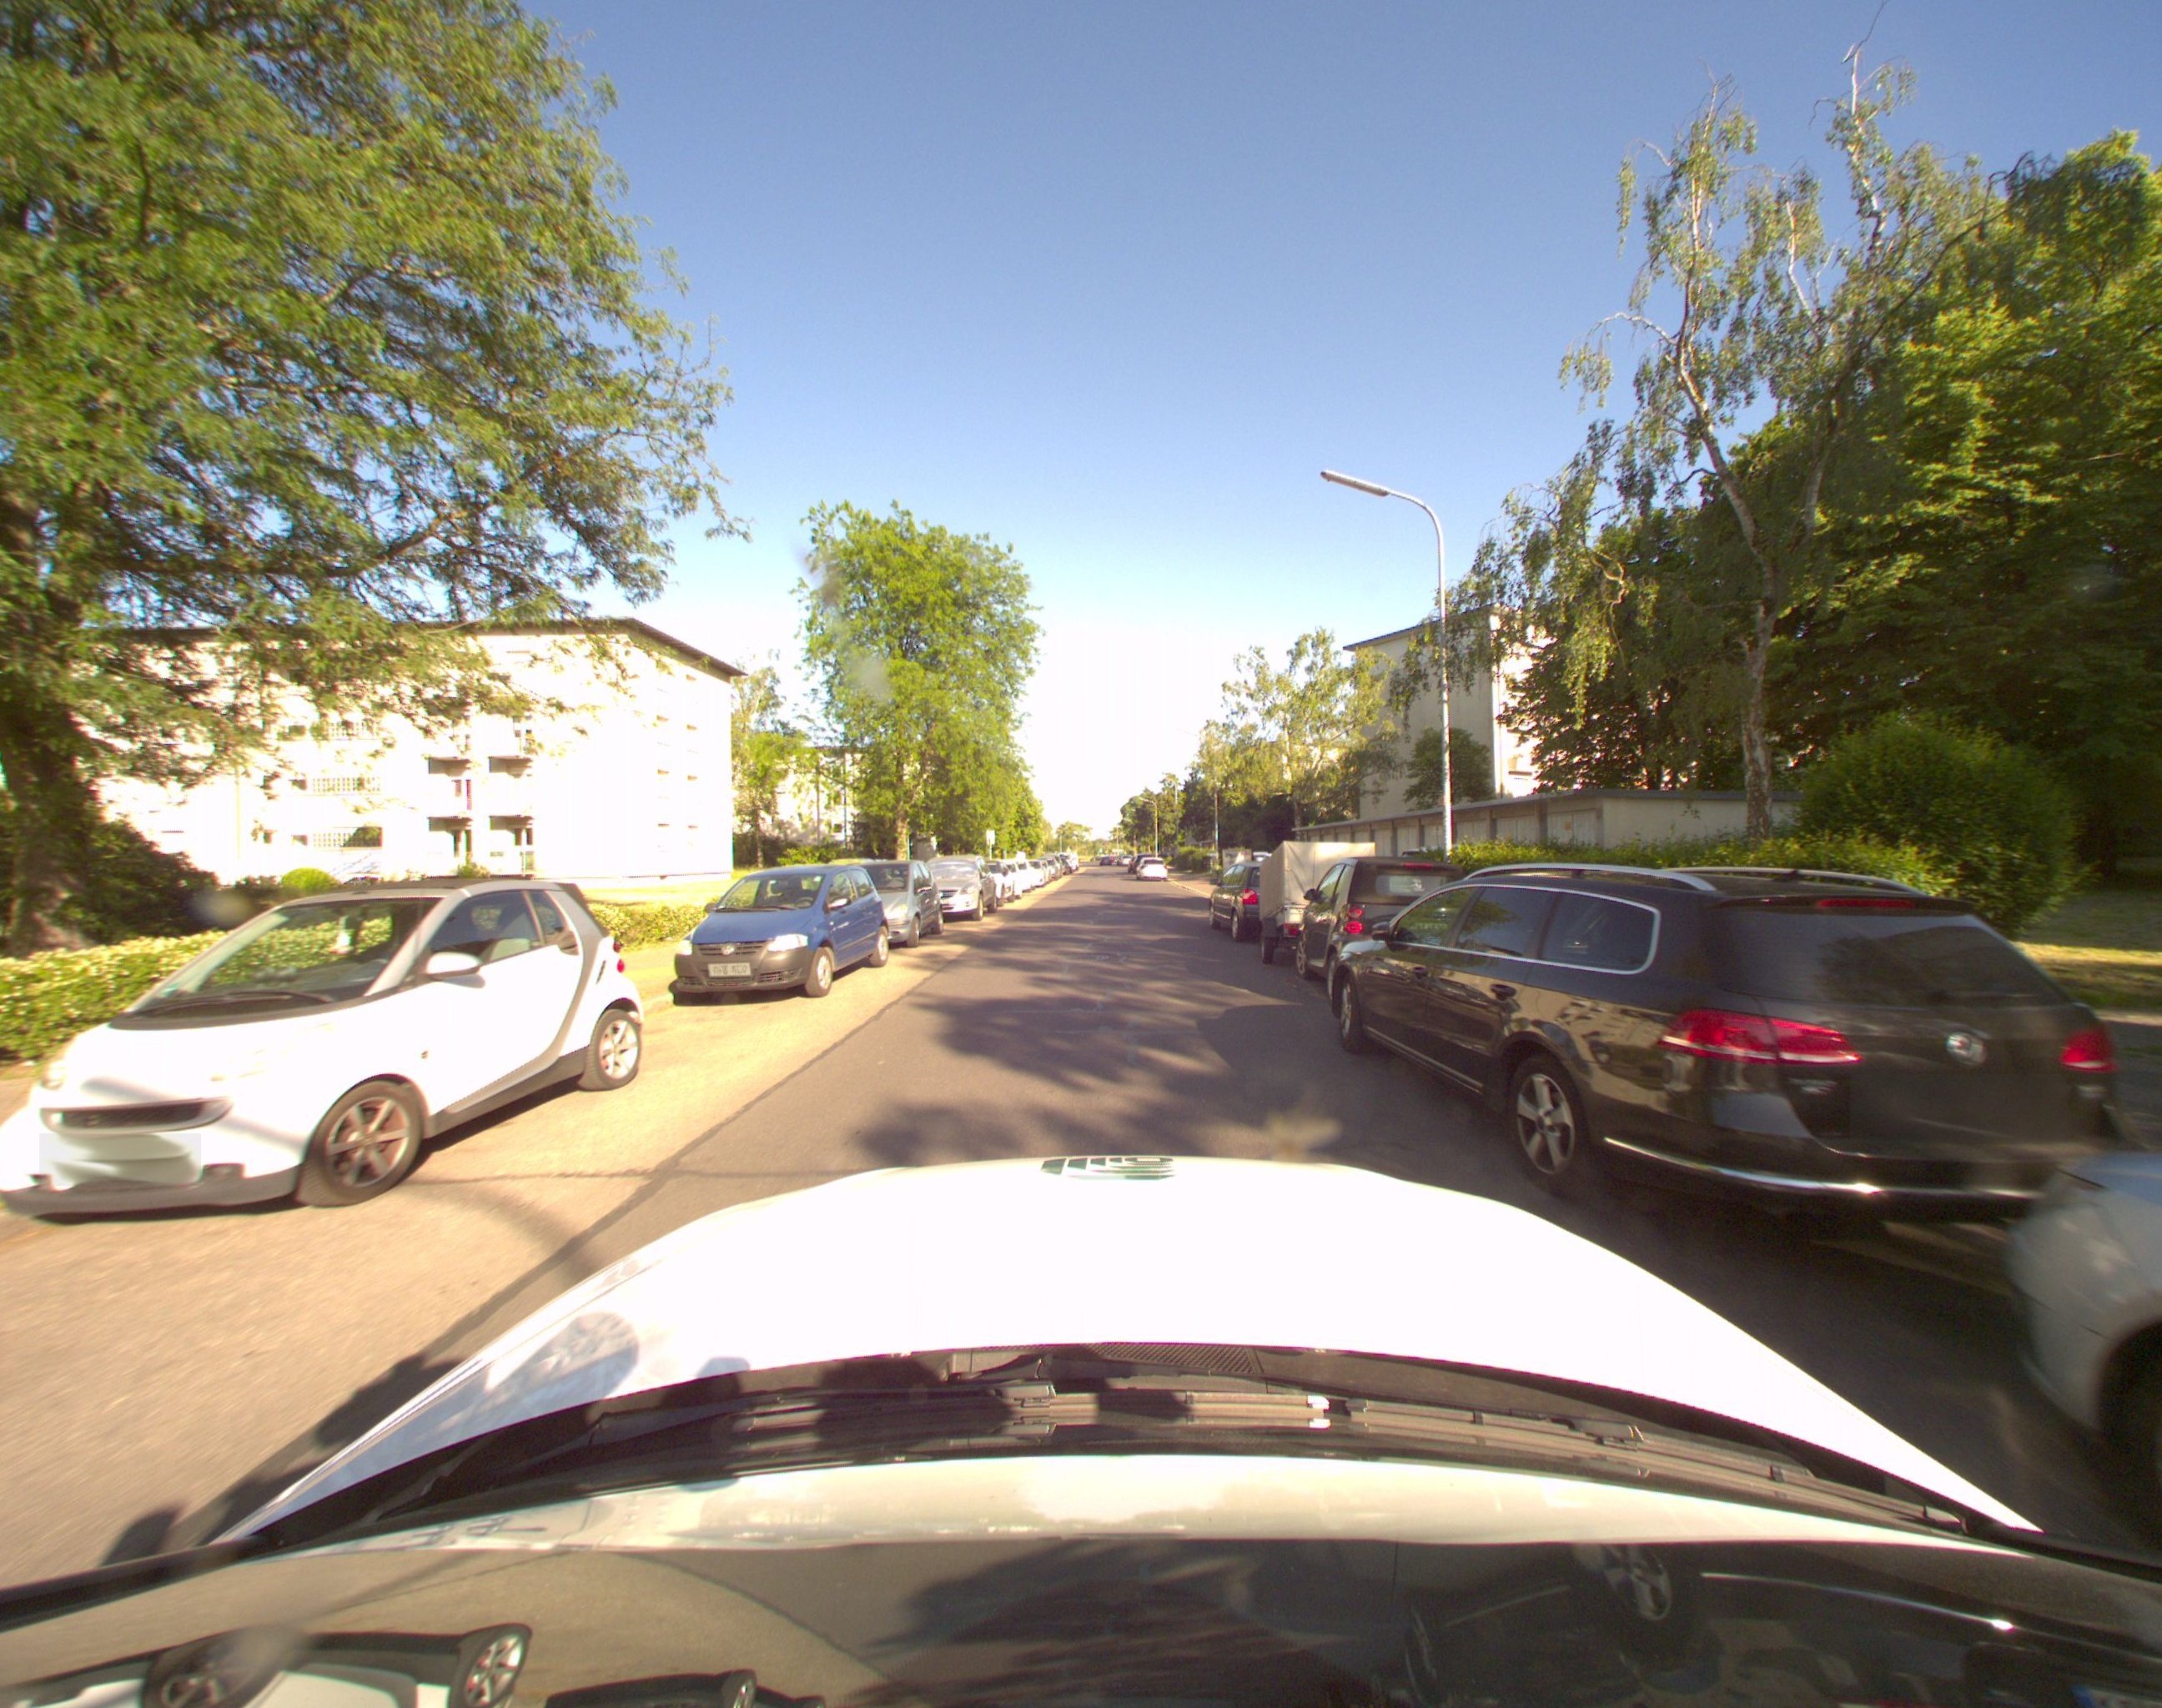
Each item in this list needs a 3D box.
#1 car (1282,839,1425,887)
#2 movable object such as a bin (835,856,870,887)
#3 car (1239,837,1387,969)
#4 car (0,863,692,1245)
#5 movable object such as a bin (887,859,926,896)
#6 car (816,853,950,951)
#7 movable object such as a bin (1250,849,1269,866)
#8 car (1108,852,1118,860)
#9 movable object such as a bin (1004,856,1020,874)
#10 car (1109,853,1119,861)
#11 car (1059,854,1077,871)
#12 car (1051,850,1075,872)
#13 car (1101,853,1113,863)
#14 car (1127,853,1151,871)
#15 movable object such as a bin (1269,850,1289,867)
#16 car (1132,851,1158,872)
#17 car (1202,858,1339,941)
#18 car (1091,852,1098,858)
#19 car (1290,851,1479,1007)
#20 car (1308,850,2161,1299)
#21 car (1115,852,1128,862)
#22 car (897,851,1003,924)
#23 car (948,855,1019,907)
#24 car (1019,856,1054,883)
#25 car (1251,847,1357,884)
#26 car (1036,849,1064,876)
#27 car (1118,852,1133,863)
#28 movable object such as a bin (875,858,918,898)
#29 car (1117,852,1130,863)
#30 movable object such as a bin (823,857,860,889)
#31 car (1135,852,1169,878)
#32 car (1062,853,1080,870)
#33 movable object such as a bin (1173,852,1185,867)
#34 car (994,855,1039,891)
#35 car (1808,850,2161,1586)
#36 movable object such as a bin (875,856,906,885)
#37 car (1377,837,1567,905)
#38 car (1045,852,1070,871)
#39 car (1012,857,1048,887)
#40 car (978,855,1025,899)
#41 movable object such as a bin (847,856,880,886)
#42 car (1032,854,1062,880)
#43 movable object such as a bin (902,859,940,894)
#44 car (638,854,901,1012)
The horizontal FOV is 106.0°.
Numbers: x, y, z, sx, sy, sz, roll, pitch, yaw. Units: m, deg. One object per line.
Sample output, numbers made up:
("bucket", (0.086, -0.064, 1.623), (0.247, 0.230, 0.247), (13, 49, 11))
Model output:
("car", (9.719, 0.306, 29.299), (4.495, 1.513, 1.830), (-2, 0, 2))
("movable object such as a bin", (-11.005, 0.844, 39.353), (1.172, 1.420, 1.464), (1, 0, 3))
("car", (3.284, 0.640, 11.943), (1.483, 1.718, 2.583), (0, 0, 1))
("car", (-4.078, 0.908, 5.144), (1.438, 1.574, 3.146), (-3, 0, 5))
("movable object such as a bin", (-6.695, 0.888, 31.330), (1.131, 1.358, 1.244), (1, 0, 3))
("car", (-3.674, 0.823, 15.712), (1.630, 1.606, 3.535), (-2, 0, 0))
("movable object such as a bin", (14.697, 0.283, 67.154), (1.250, 1.353, 1.279), (-1, 0, 1))
("car", (6.901, 0.412, 175.599), (1.790, 1.643, 3.950), (0, 0, -1))
("movable object such as a bin", (-5.616, 0.909, 66.223), (1.097, 1.420, 1.361), (1, 0, 2))
("car", (6.786, 0.646, 168.191), (1.790, 1.548, 3.950), (0, 0, -1))
("car", (-1.337, 0.844, 84.253), (1.741, 1.669, 4.375), (-2, 0, -1))
("car", (-1.656, 0.620, 76.147), (1.907, 1.962, 5.089), (-2, 0, 2))
("car", (3.889, 0.558, 123.721), (1.675, 1.513, 4.102), (1, 0, -1))
("car", (5.139, 0.700, 72.649), (1.901, 1.531, 4.329), (0, 0, 1))
("movable object such as a bin", (16.404, 0.358, 67.410), (1.253, 1.353, 1.276), (-1, 0, -7))
("car", (5.192, 0.600, 66.797), (1.901, 1.639, 4.630), (0, 0, 1))
("car", (3.545, 0.786, 15.942), (1.727, 1.403, 3.893), (0, 0, -1))
("car", (3.557, 0.333, 220.002), (1.790, 1.561, 3.950), (0, 0, -1))
("car", (3.329, 0.740, 9.343), (1.408, 1.523, 2.561), (0, 0, 5))
("car", (2.915, 0.748, 4.987), (1.726, 1.490, 4.499), (1, 0, -1))
("car", (6.618, 0.434, 133.567), (1.790, 1.643, 3.950), (0, 0, -1))
("car", (-3.274, 0.783, 21.257), (1.896, 1.640, 4.350), (-2, 0, 1))
("car", (-3.122, 0.833, 26.805), (1.656, 1.513, 3.948), (-2, 0, 2))
("car", (-2.665, 0.920, 49.377), (1.680, 1.465, 4.526), (-3, 0, 1))
("car", (10.211, 0.514, 37.501), (4.398, 1.513, 1.829), (-2, 0, 1))
("car", (-2.250, 0.597, 60.622), (1.848, 1.892, 4.417), (-2, 0, 0))
("car", (6.181, 0.512, 112.778), (1.790, 1.561, 3.950), (0, 0, -1))
("movable object such as a bin", (-6.768, 0.865, 29.946), (1.131, 1.382, 1.443), (1, 0, 3))
("car", (6.724, 0.572, 128.778), (1.790, 1.786, 3.950), (0, 0, -1))
("movable object such as a bin", (-11.039, 0.848, 37.631), (1.172, 1.420, 1.464), (1, 0, 3))
("car", (4.362, 0.654, 50.531), (1.748, 1.513, 4.102), (1, 0, -1))
("car", (-1.113, 0.816, 89.790), (1.740, 1.732, 4.006), (-2, 0, 1))
("movable object such as a bin", (9.341, 0.526, 77.664), (0.914, 1.454, 1.233), (-1, 0, 1))
("car", (-2.978, 0.858, 38.081), (1.681, 1.535, 3.891), (-2, 0, 1))
("car", (2.980, 0.741, 0.452), (1.617, 1.490, 4.036), (0, 0, 1))
("movable object such as a bin", (-9.678, 0.843, 41.396), (1.130, 1.420, 1.362), (1, 0, 3))
("car", (9.832, 0.409, 20.673), (3.932, 1.513, 1.827), (-2, 0, -2))
("car", (-1.965, 0.620, 69.787), (1.739, 1.533, 4.143), (-2, 0, 4))
("car", (-2.711, 0.920, 43.825), (1.681, 1.505, 3.817), (-2, 0, 0))
("car", (-3.056, 0.849, 31.525), (1.660, 1.513, 3.532), (-2, 0, -5))
("movable object such as a bin", (-10.896, 0.854, 40.872), (1.172, 1.420, 1.464), (1, 0, 3))
("car", (-2.249, 0.826, 54.629), (1.704, 1.600, 3.985), (-3, 0, 0))
("movable object such as a bin", (-6.381, 0.886, 32.625), (1.173, 1.340, 1.344), (1, 0, 3))
("car", (-3.815, 0.859, 10.803), (1.747, 1.606, 3.971), (-3, 0, 2))
